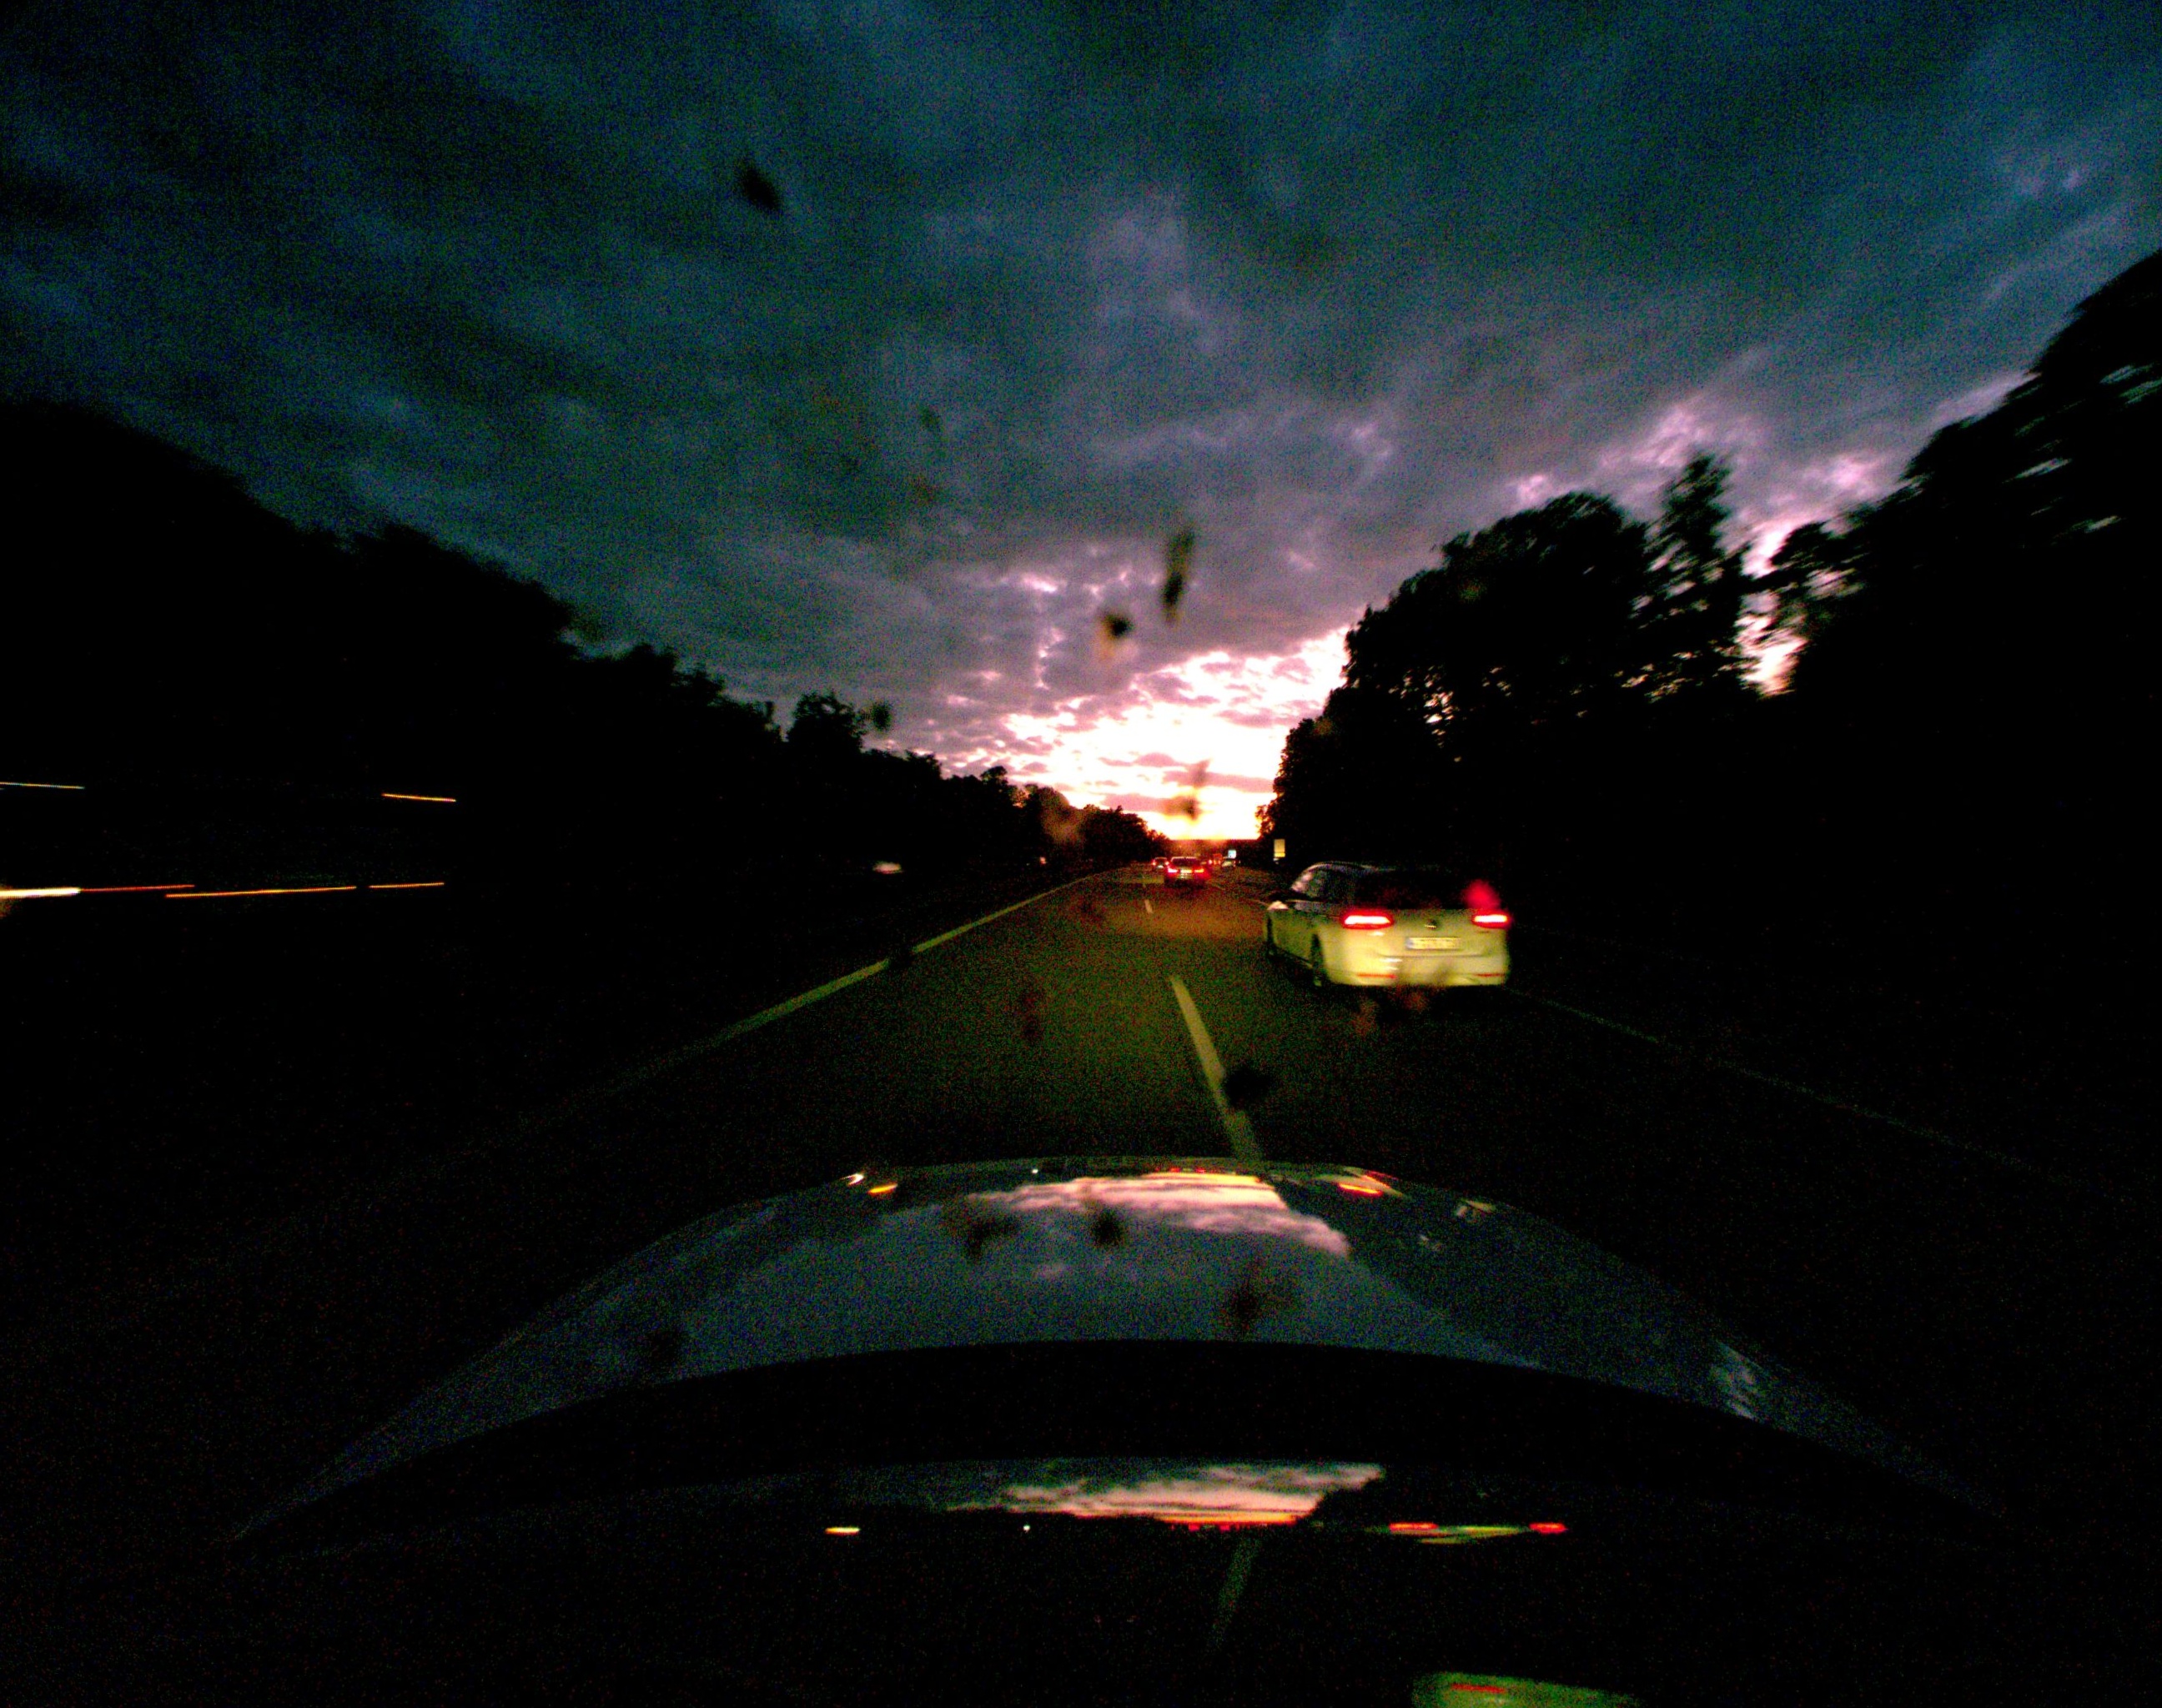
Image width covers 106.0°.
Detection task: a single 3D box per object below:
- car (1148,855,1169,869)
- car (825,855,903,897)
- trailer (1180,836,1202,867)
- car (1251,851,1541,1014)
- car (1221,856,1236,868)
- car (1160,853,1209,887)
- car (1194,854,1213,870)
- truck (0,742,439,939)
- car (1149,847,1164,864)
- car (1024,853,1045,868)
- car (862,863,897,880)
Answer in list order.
[{"bbox_3d":[8.138,0.820,85.929,1.853,1.442,3.720,-1,0,0],"label":"car"},{"bbox_3d":[-9.059,0.884,34.433,1.987,1.600,4.822,-1,0,0],"label":"car"},{"bbox_3d":[15.724,-0.313,116.587,2.892,4.101,10.374,0,-2,6],"label":"trailer"},{"bbox_3d":[3.440,0.714,10.097,1.802,1.466,5.135,-1,0,2],"label":"car"},{"bbox_3d":[18.891,1.012,104.339,1.847,1.442,4.123,-1,-2,10],"label":"car"},{"bbox_3d":[5.073,0.751,40.560,1.902,1.537,5.234,-1,0,2],"label":"car"},{"bbox_3d":[12.869,0.838,85.405,1.892,1.643,5.064,-1,-1,9],"label":"car"},{"bbox_3d":[-23.004,-0.262,21.875,2.633,4.011,10.554,-1,0,3],"label":"truck"},{"bbox_3d":[11.466,0.298,123.076,2.155,2.419,5.572,-1,-2,6],"label":"car"},{"bbox_3d":[-5.722,0.810,100.168,1.985,1.705,4.555,-1,0,4],"label":"car"},{"bbox_3d":[-18.864,1.590,76.417,1.842,1.497,4.600,-1,0,4],"label":"car"}]
